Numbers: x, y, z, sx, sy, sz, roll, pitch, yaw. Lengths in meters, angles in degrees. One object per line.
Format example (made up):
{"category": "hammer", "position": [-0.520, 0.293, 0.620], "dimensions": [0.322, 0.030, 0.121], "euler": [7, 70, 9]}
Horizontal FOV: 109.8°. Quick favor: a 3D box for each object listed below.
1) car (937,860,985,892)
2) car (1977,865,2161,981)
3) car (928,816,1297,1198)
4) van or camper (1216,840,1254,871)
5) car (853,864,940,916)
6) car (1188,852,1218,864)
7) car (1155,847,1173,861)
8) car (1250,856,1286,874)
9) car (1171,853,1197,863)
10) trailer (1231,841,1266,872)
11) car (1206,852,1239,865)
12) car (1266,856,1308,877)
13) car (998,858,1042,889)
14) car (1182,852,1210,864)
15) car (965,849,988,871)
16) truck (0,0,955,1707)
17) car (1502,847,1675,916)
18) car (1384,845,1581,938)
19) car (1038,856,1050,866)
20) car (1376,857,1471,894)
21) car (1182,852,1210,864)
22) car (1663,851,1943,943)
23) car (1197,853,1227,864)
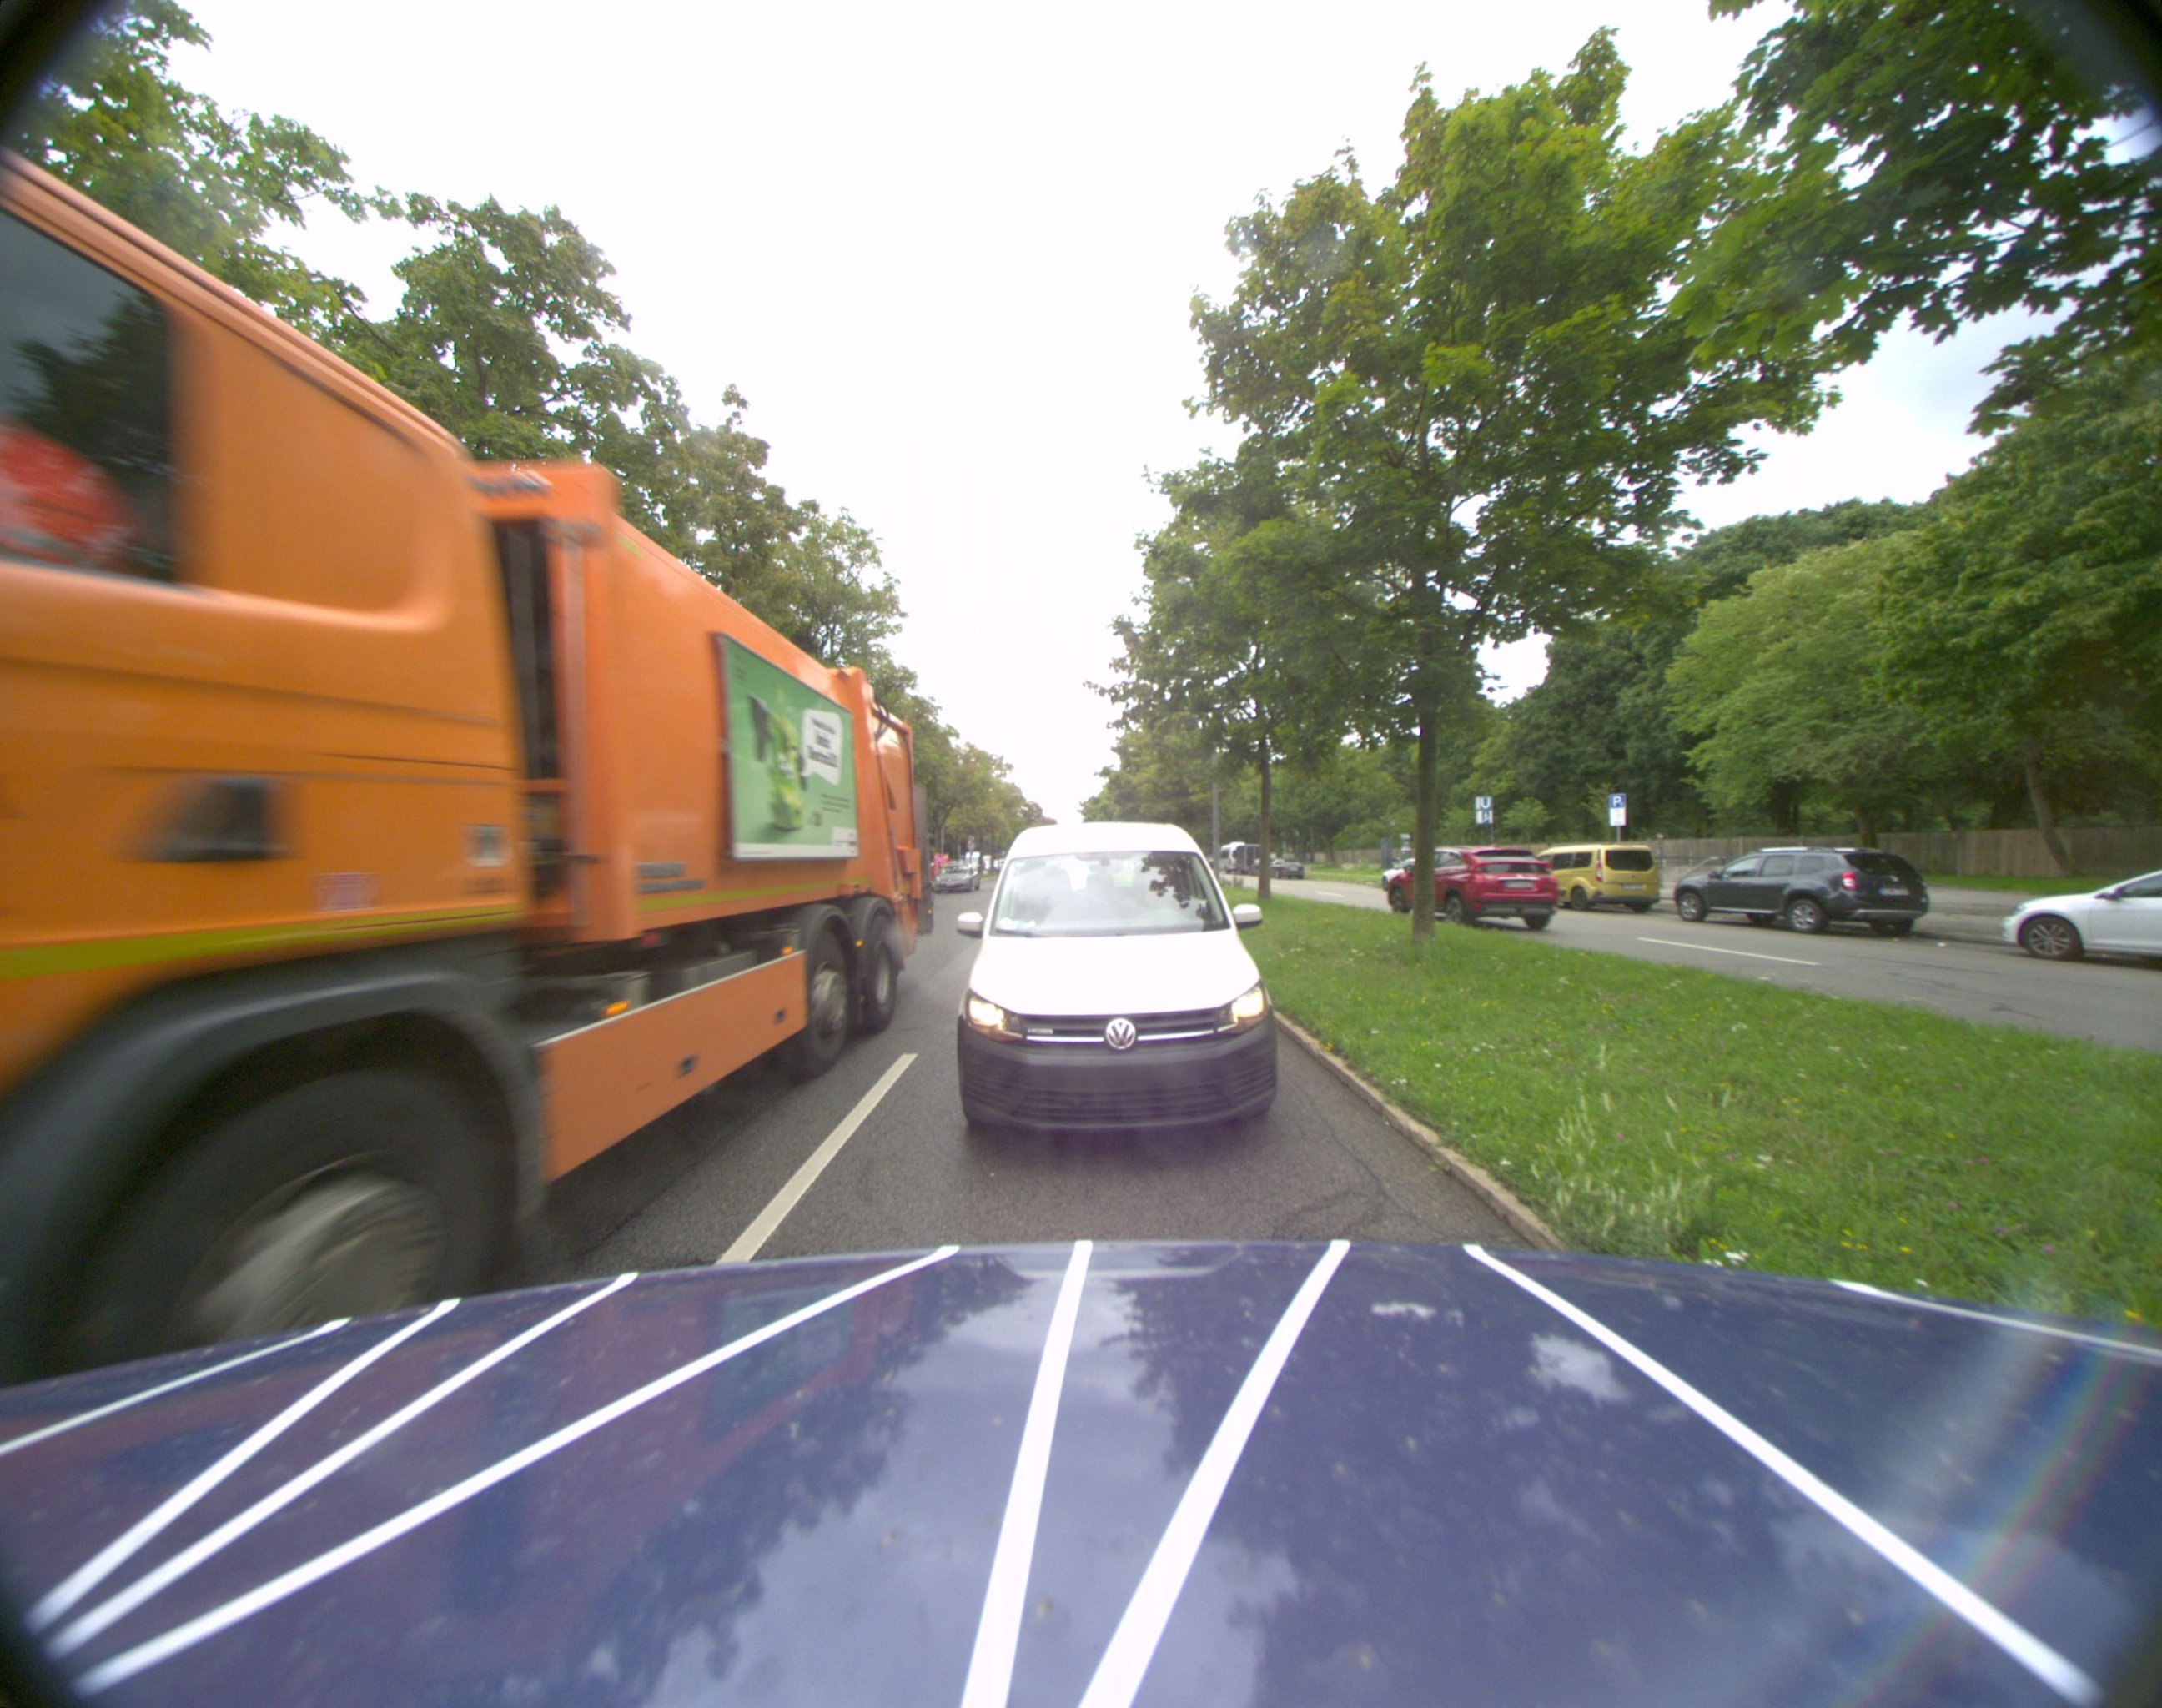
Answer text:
{"category": "car", "position": [-6.176, 1.096, 39.379], "dimensions": [1.686, 1.457, 4.115], "euler": [-2, 0, 1]}
{"category": "car", "position": [14.590, 0.892, 9.338], "dimensions": [1.767, 1.441, 4.532], "euler": [0, 0, 0]}
{"category": "car", "position": [0.120, 0.733, 5.967], "dimensions": [1.750, 1.807, 4.667], "euler": [-1, 0, -1]}
{"category": "van or camper", "position": [14.505, 0.124, 72.042], "dimensions": [2.040, 2.821, 7.546], "euler": [0, 0, 0]}
{"category": "car", "position": [-6.053, 1.146, 25.454], "dimensions": [1.755, 1.457, 4.176], "euler": [-2, 0, 1]}
{"category": "car", "position": [18.196, 0.557, 113.502], "dimensions": [4.005, 1.548, 1.888], "euler": [-3, 0, -27]}
{"category": "car", "position": [11.407, -0.013, 104.557], "dimensions": [1.804, 1.922, 4.993], "euler": [0, 0, -1]}
{"category": "car", "position": [14.657, 0.825, 59.890], "dimensions": [1.805, 1.376, 4.238], "euler": [0, 0, 0]}
{"category": "car", "position": [17.885, 0.633, 131.667], "dimensions": [4.006, 1.548, 1.887], "euler": [-3, 0, -32]}
{"category": "trailer", "position": [14.466, 0.244, 65.951], "dimensions": [2.022, 2.575, 4.658], "euler": [0, 0, 0]}
{"category": "car", "position": [18.300, 0.558, 98.174], "dimensions": [4.006, 1.477, 1.797], "euler": [-3, 0, -34]}
{"category": "car", "position": [14.460, 0.837, 53.579], "dimensions": [1.805, 1.417, 4.431], "euler": [0, 0, 0]}
{"category": "car", "position": [-3.206, 1.000, 40.736], "dimensions": [1.799, 1.434, 4.667], "euler": [-3, 0, 1]}
{"category": "car", "position": [18.153, 0.622, 119.725], "dimensions": [4.006, 1.548, 1.887], "euler": [-3, 0, -32]}
{"category": "car", "position": [-13.121, 0.741, 95.770], "dimensions": [1.978, 2.641, 6.005], "euler": [-2, 0, 0]}
{"category": "truck", "position": [-3.119, 0.182, 4.738], "dimensions": [3.046, 3.170, 9.132], "euler": [-2, 0, 0]}
{"category": "car", "position": [14.389, 0.716, 21.960], "dimensions": [1.819, 1.772, 4.817], "euler": [0, 0, 1]}
{"category": "car", "position": [8.182, 0.681, 15.999], "dimensions": [1.908, 1.686, 4.245], "euler": [1, 0, 1]}
{"category": "car", "position": [-6.001, 1.057, 122.776], "dimensions": [1.735, 1.498, 4.441], "euler": [-2, 0, -1]}
{"category": "car", "position": [14.667, 0.877, 32.852], "dimensions": [1.861, 1.464, 4.874], "euler": [0, 0, 0]}
{"category": "car", "position": [17.558, 0.560, 116.069], "dimensions": [4.006, 1.548, 1.887], "euler": [-3, 0, -32]}
{"category": "car", "position": [14.603, 0.772, 15.782], "dimensions": [1.741, 1.636, 4.255], "euler": [0, 0, 0]}
{"category": "car", "position": [19.007, 0.628, 110.514], "dimensions": [4.005, 1.446, 1.736], "euler": [-3, 0, -27]}
